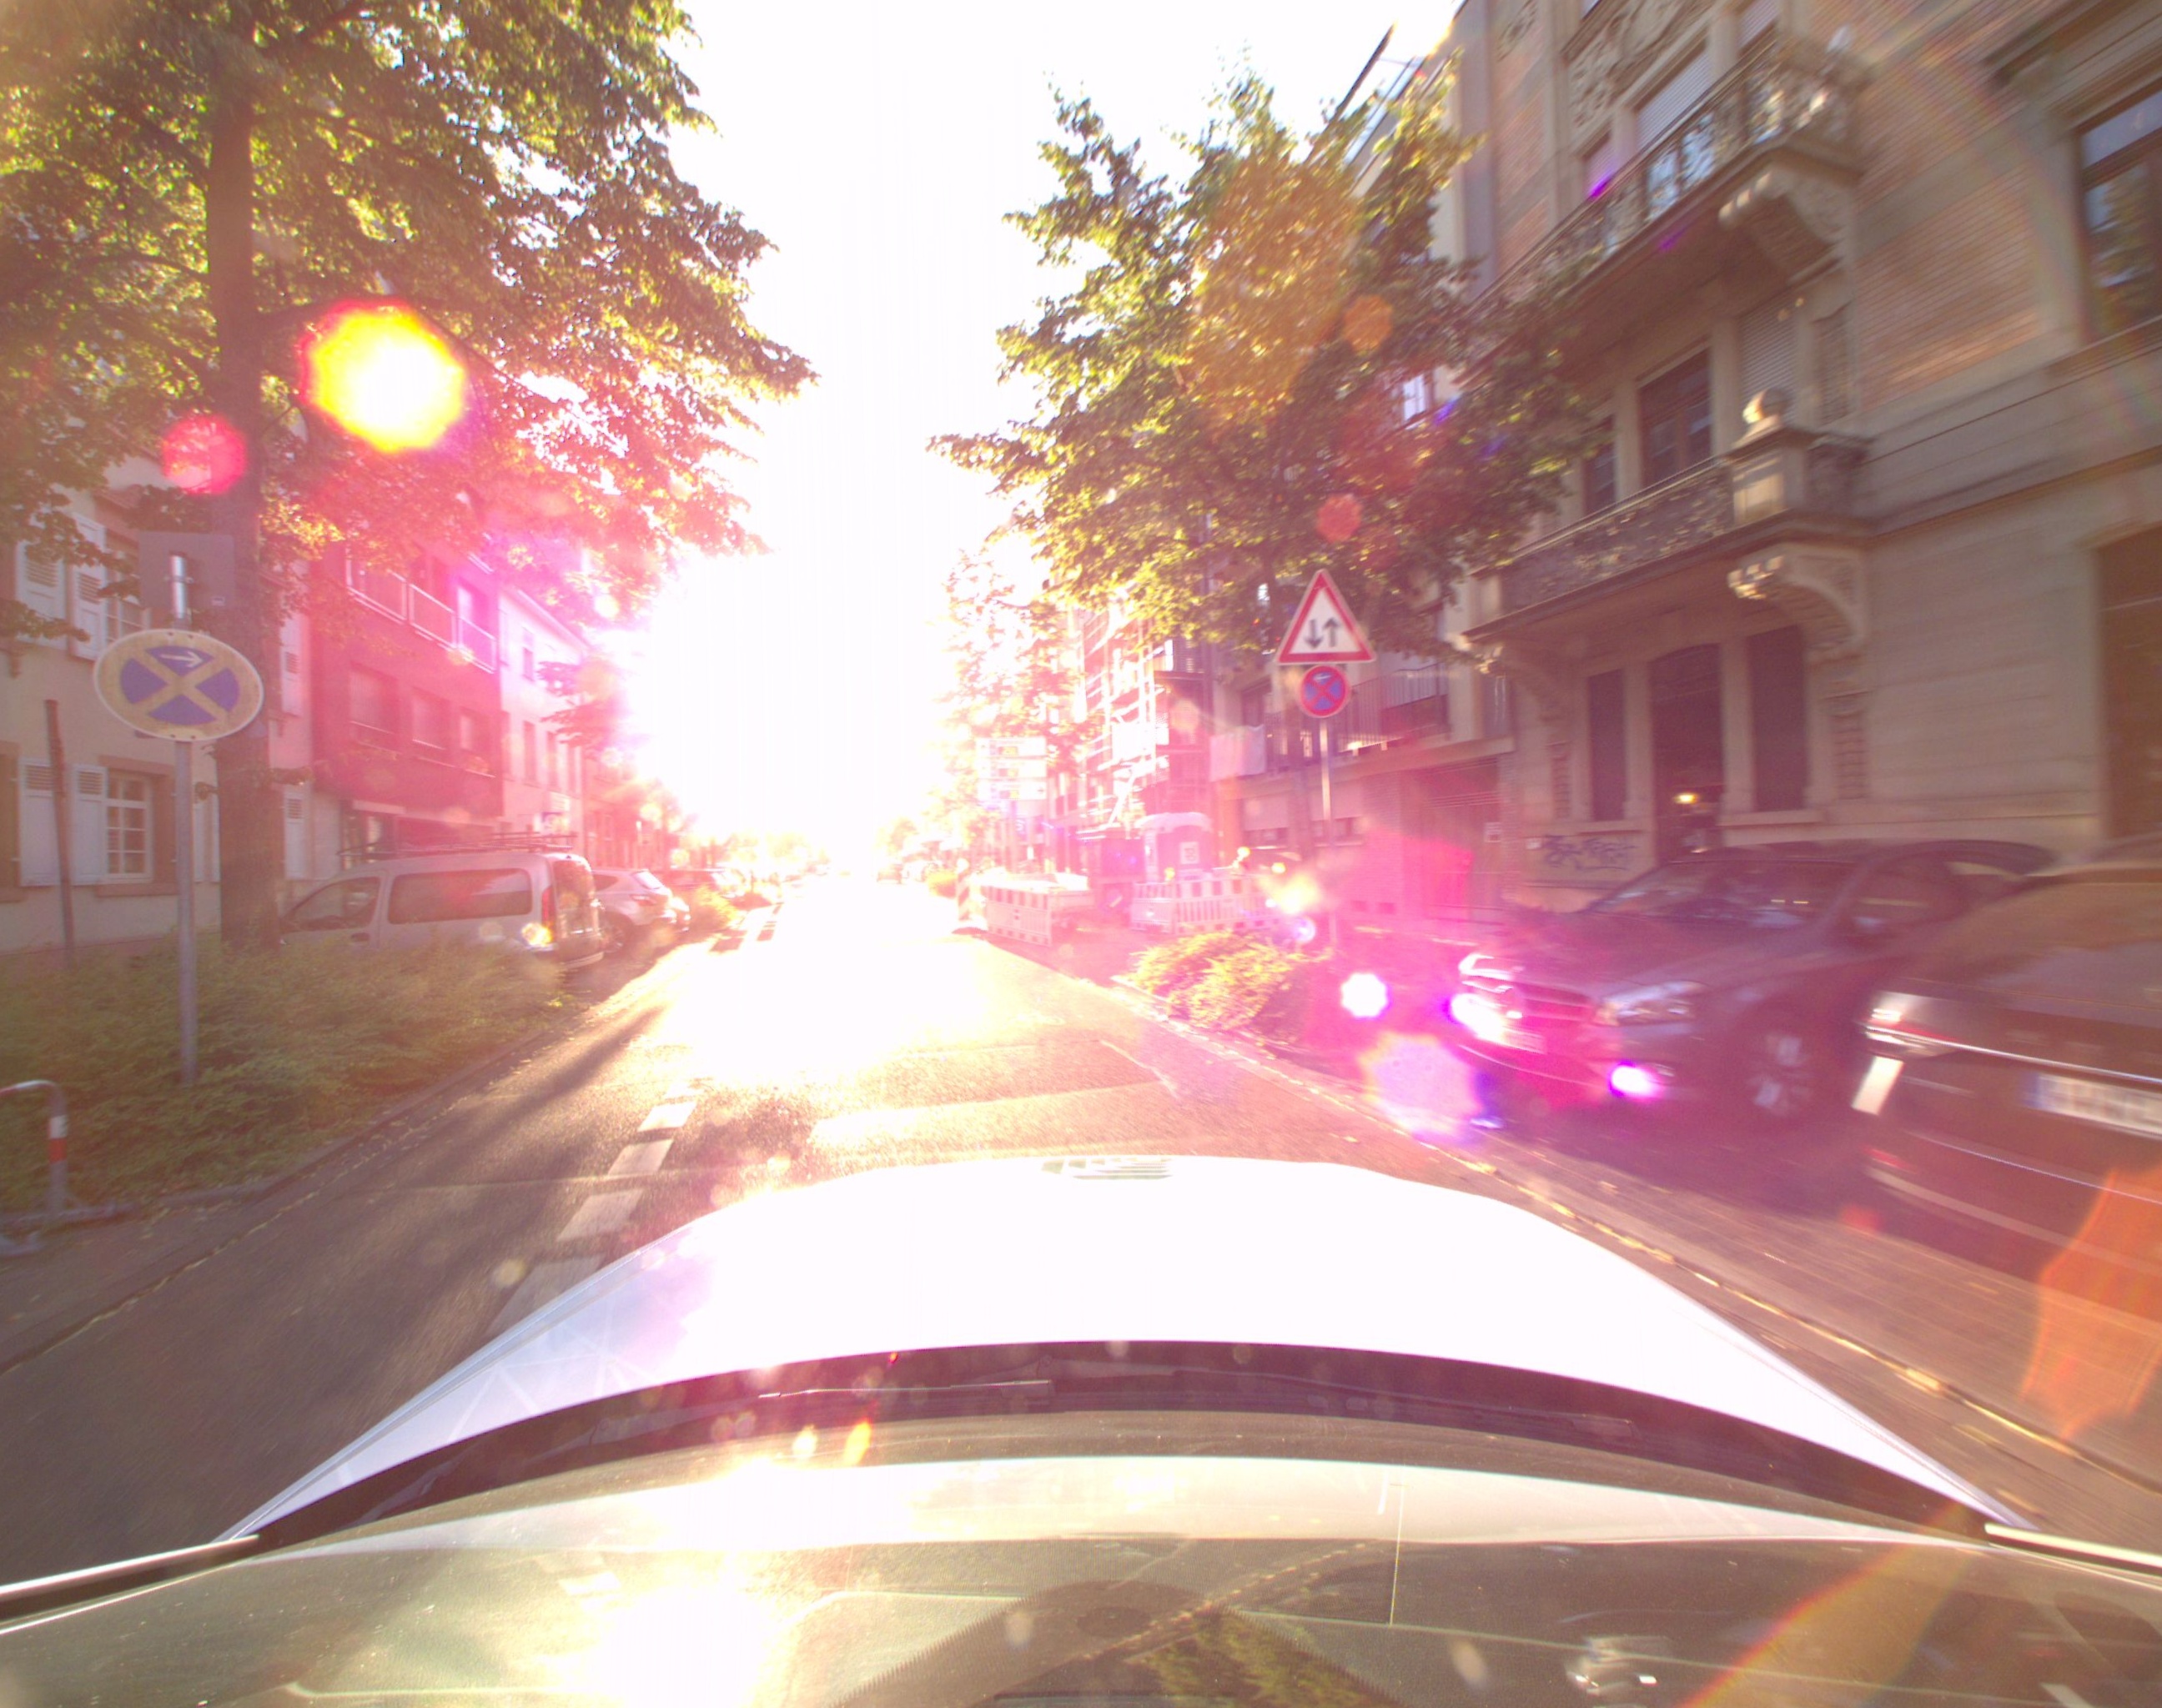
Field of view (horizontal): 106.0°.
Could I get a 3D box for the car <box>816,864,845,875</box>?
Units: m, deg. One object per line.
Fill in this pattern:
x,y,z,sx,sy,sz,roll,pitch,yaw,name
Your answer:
-35.519,2.144,115.555,1.614,1.484,3.645,-1,1,43,car

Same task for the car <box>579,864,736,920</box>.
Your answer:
-12.751,1.109,24.783,3.901,1.517,1.846,-1,0,-16,car

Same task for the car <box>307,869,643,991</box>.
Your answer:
-8.880,1.051,12.266,3.652,1.515,1.642,-2,0,-12,car

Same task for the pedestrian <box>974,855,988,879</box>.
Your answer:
-7.188,0.922,58.413,0.812,1.646,0.602,-3,-1,-17,pedestrian

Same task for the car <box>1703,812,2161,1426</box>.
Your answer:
4.796,0.570,2.812,4.538,1.511,1.900,-3,0,-17,car

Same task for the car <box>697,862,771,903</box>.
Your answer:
-14.556,1.167,34.302,2.703,1.520,1.561,-4,1,-20,car

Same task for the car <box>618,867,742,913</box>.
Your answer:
-13.303,1.178,27.225,3.402,1.392,1.678,-1,0,-15,car

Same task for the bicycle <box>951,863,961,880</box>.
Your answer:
-9.231,1.299,60.096,0.398,1.234,1.814,-2,0,-19,bicycle

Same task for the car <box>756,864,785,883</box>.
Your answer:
-27.773,1.705,72.973,1.831,1.556,5.108,-3,0,-16,car

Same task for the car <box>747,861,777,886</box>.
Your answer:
-25.968,1.566,66.424,1.833,1.810,5.315,-3,0,-18,car

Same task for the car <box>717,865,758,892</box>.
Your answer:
-20.487,1.422,48.713,1.777,1.515,3.928,-1,0,-16,car

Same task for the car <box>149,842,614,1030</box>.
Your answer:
-8.026,0.863,9.761,3.815,1.849,1.692,-2,-1,-14,car

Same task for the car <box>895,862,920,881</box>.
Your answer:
-14.252,1.394,66.622,1.637,1.424,3.735,-2,0,-17,car

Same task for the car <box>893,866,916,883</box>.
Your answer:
-15.958,1.855,73.487,1.707,1.436,3.910,-3,0,-16,car

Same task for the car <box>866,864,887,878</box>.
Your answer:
-21.198,1.787,84.243,1.926,1.415,4.522,1,-1,-16,car

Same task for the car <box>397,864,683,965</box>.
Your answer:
-9.388,0.995,14.481,3.831,1.585,1.733,-1,-1,-14,car

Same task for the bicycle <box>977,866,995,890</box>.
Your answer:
-4.457,1.108,38.243,0.383,1.100,1.511,-2,0,-23,bicycle

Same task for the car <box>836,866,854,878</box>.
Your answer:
-27.634,2.091,95.320,1.888,1.415,4.300,-1,-1,-16,car

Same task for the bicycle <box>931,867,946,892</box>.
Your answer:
-6.404,1.144,36.607,0.383,1.100,1.513,-2,0,-19,bicycle

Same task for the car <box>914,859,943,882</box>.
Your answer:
-11.298,1.216,60.202,1.638,1.553,2.677,-2,0,-19,car

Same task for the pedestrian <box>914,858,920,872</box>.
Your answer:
-20.802,1.418,103.312,0.688,1.721,0.714,-3,-1,-11,pedestrian

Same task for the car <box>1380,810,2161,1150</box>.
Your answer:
4.545,0.580,5.458,4.538,1.479,1.857,-3,0,-17,car

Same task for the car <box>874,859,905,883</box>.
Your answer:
-14.315,1.250,60.605,1.999,1.655,4.647,0,-1,-16,car

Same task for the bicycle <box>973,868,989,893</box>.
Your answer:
-4.855,1.265,39.484,0.383,1.189,1.512,0,-1,-20,bicycle

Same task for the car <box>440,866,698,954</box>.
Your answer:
-10.407,1.083,16.942,4.222,1.516,1.750,-2,-1,-20,car
